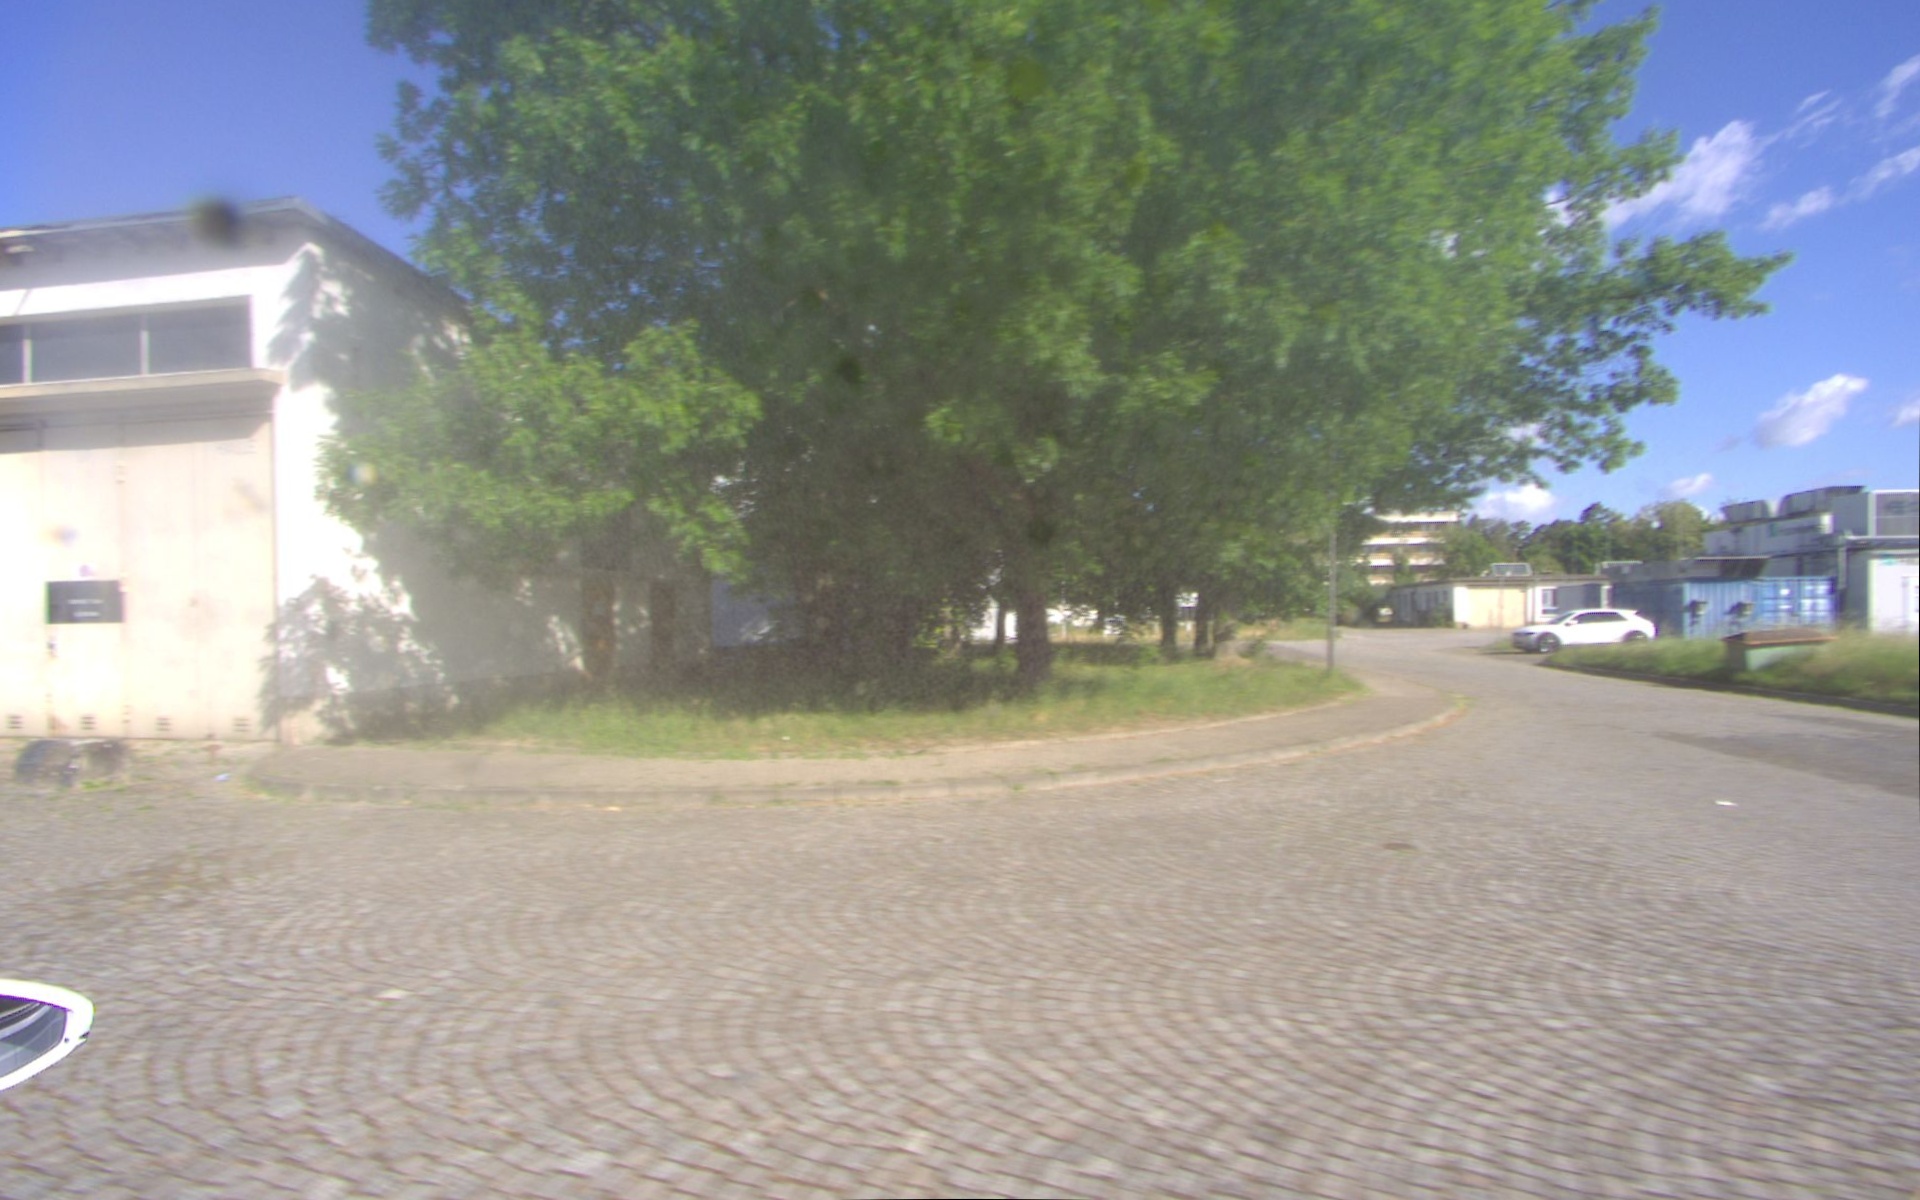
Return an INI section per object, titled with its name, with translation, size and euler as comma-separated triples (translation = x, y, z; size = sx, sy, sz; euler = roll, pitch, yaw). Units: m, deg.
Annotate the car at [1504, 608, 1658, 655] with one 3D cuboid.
[car]
translation = 23.076, 1.172, 37.391
size = 4.516, 1.699, 1.874
euler = 0, 0, 11
